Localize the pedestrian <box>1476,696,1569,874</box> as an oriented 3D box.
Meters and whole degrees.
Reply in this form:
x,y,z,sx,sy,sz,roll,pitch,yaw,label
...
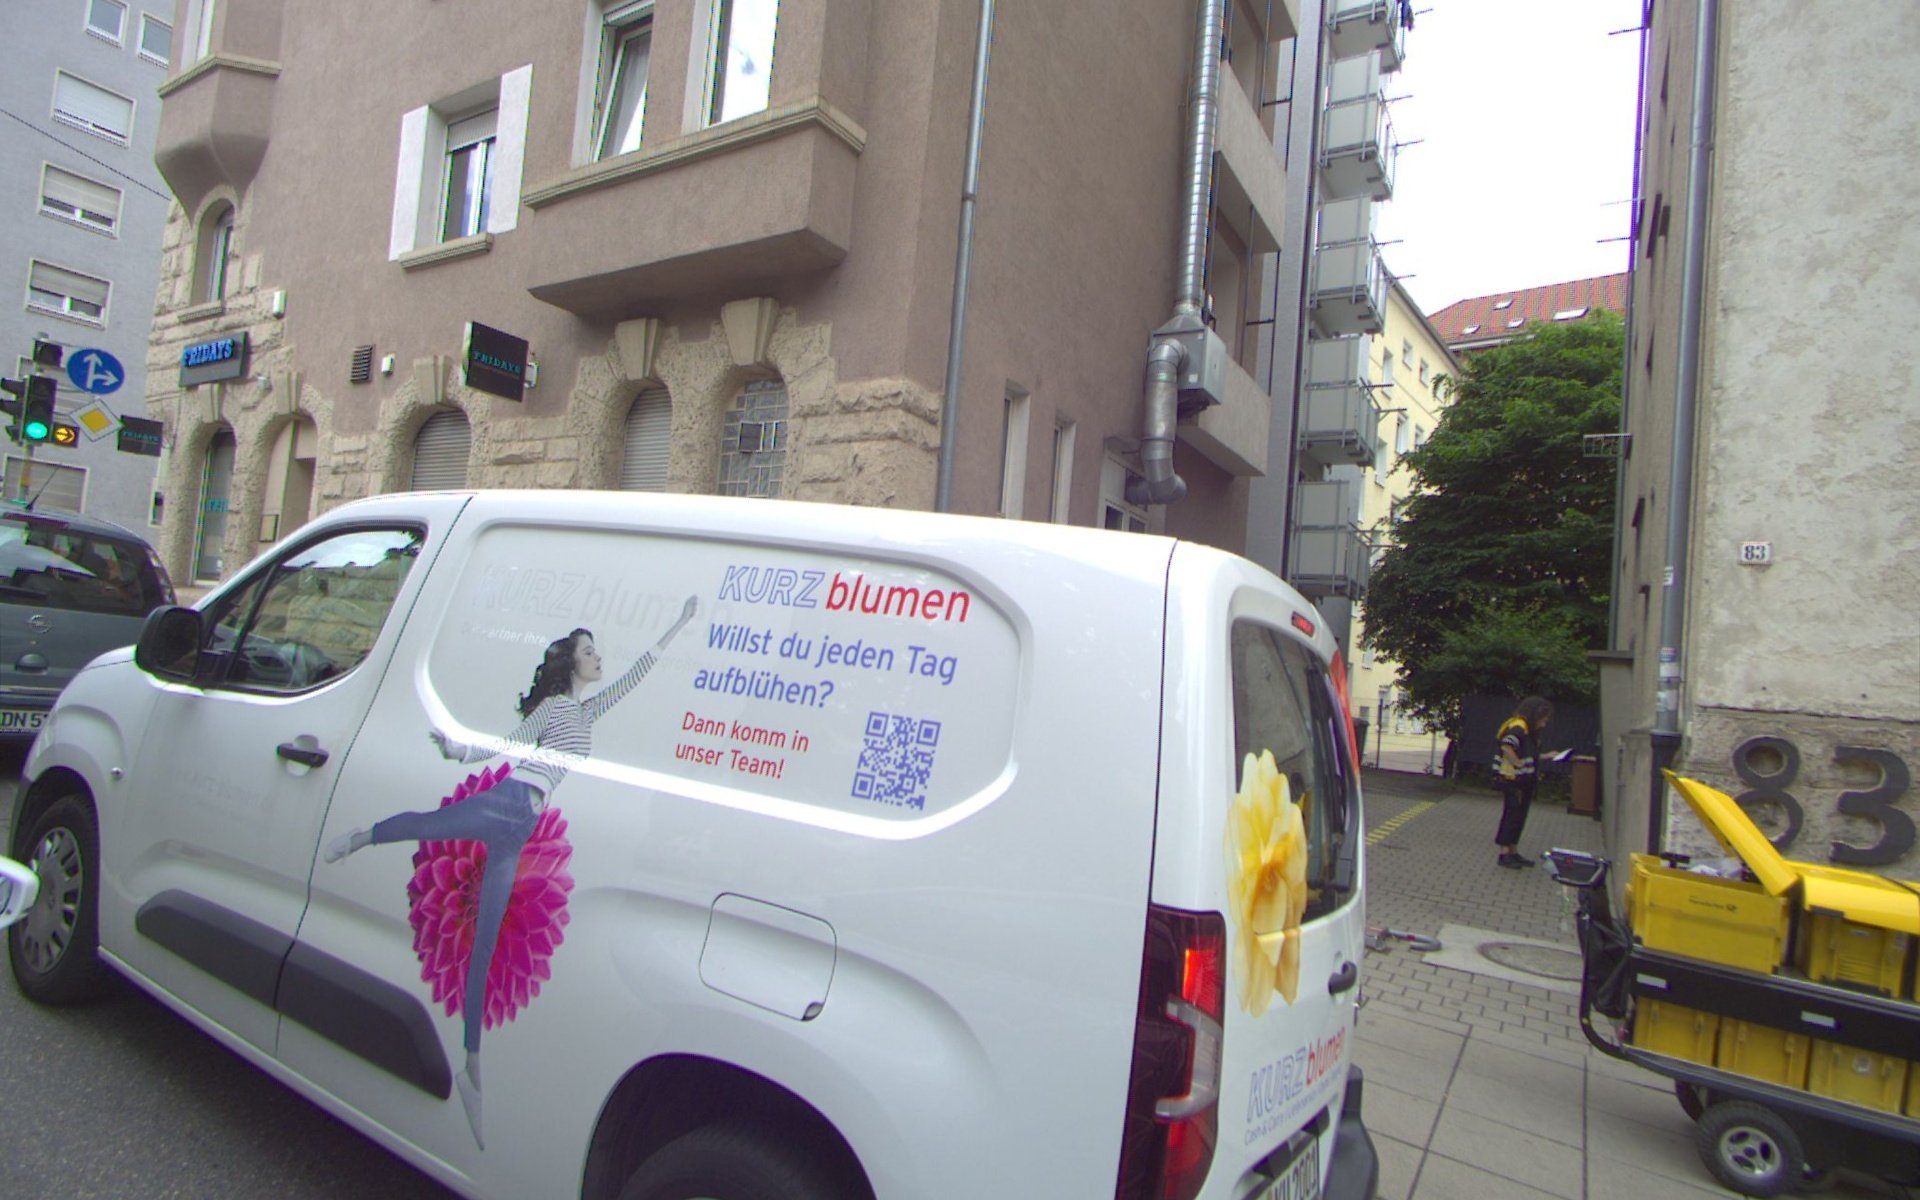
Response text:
x,y,z,sx,sy,sz,roll,pitch,yaw,label
5.720,1.829,10.212,0.772,1.665,0.809,0,-3,32,pedestrian

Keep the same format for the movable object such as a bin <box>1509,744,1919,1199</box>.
x,y,z,sx,sy,sz,roll,pitch,yaw,label
3.368,1.451,3.972,1.979,1.391,1.223,6,0,30,movable object such as a bin

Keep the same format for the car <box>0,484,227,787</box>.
x,y,z,sx,sy,sz,roll,pitch,yaw,label
-6.603,0.054,6.459,3.608,1.614,1.634,6,-5,32,car

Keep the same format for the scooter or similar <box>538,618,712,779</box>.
x,y,z,sx,sy,sz,roll,pitch,yaw,label
-2.807,0.795,8.383,1.400,1.117,0.527,6,-1,34,scooter or similar

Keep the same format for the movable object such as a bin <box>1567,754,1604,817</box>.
x,y,z,sx,sy,sz,roll,pitch,yaw,label
9.934,2.937,15.974,0.405,0.922,0.340,6,-1,32,movable object such as a bin

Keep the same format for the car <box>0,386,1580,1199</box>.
x,y,z,sx,sy,sz,roll,pitch,yaw,label
-0.901,0.570,3.152,4.598,1.793,1.983,6,-5,30,car
